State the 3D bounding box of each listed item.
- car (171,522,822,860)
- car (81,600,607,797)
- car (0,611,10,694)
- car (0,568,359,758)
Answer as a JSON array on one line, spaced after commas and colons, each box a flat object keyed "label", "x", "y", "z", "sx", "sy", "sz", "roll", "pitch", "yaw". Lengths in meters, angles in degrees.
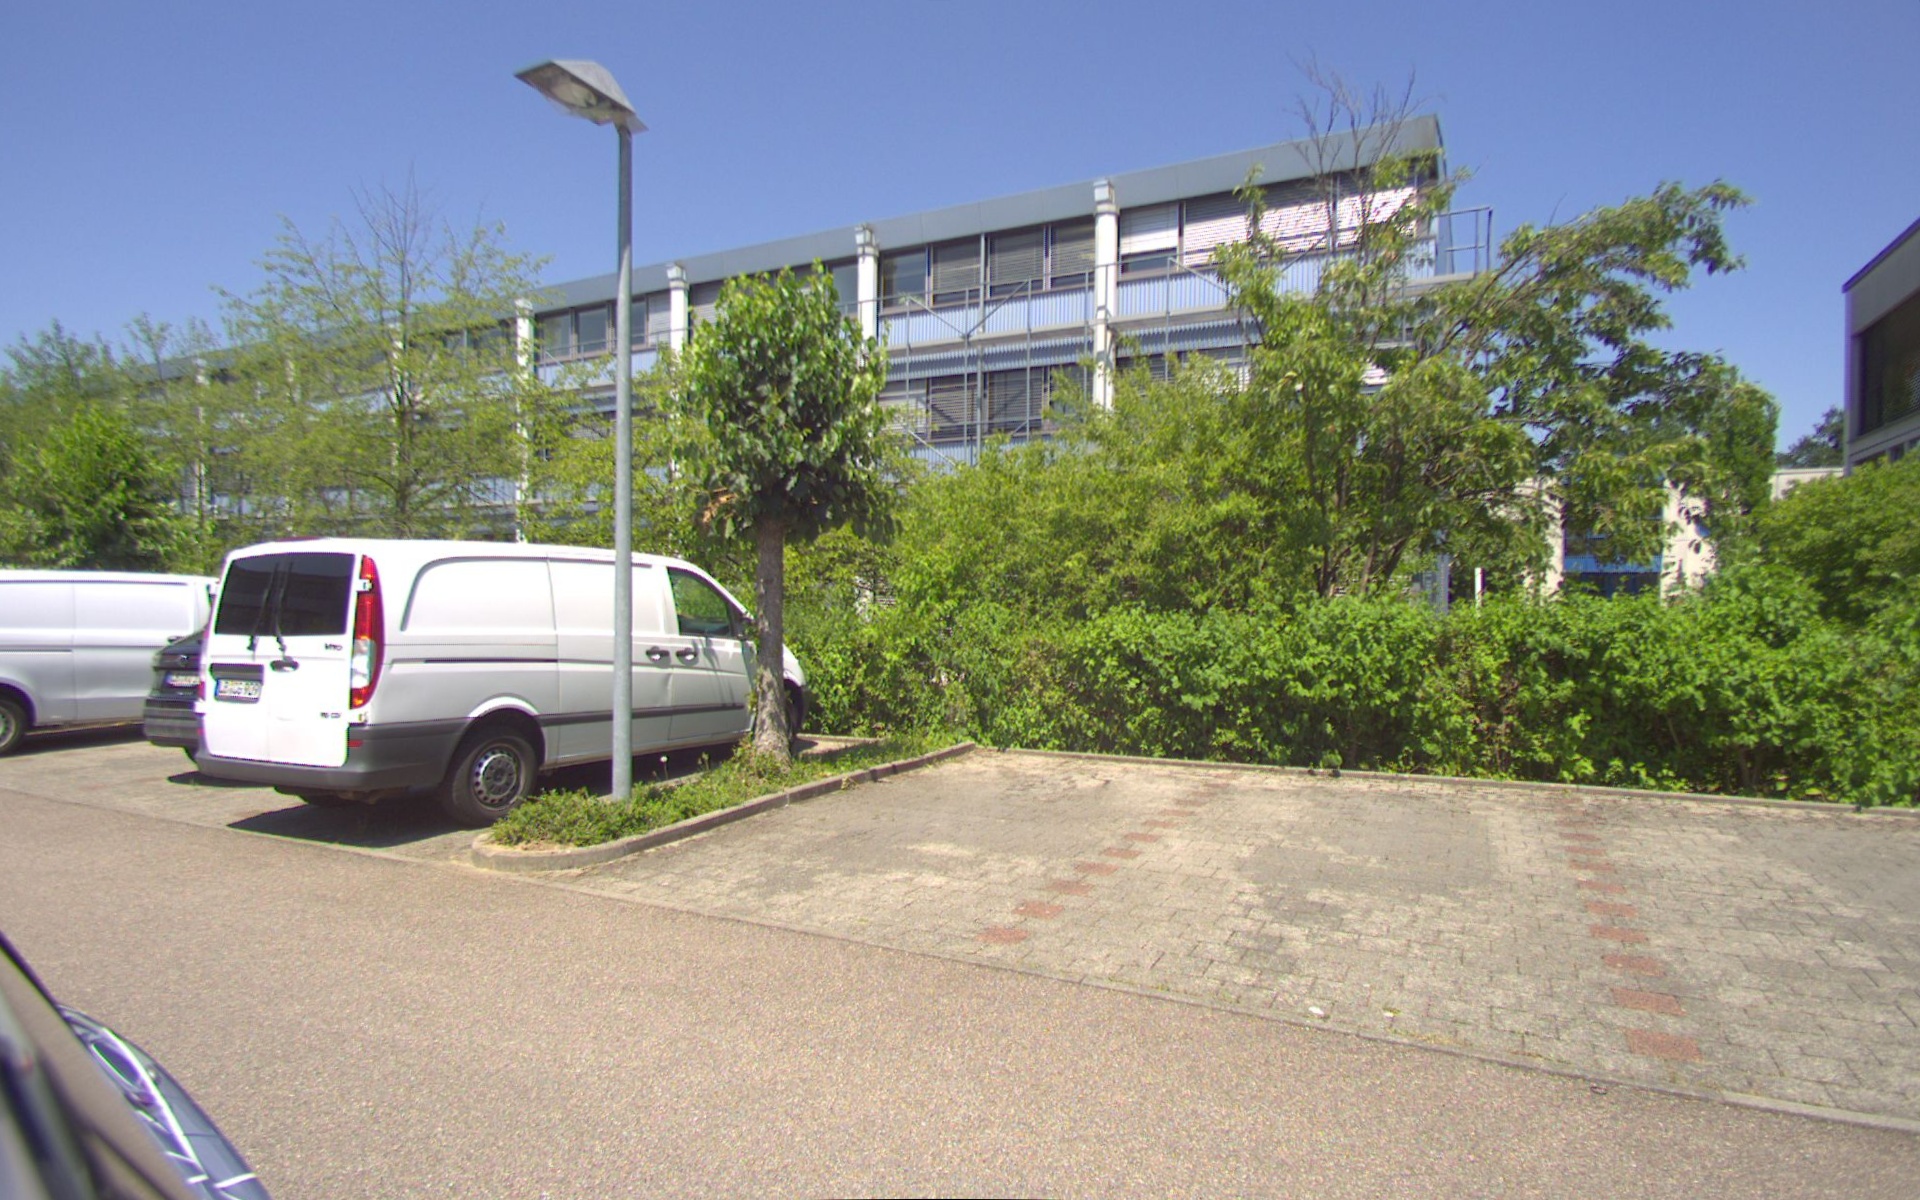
[{"label": "car", "x": -3.192, "y": 0.526, "z": 8.118, "sx": 1.859, "sy": 1.874, "sz": 4.635, "roll": -1, "pitch": -1, "yaw": 27}, {"label": "car", "x": -5.683, "y": 0.769, "z": 9.959, "sx": 1.731, "sy": 1.495, "sz": 4.160, "roll": -1, "pitch": -1, "yaw": 27}, {"label": "car", "x": -18.973, "y": 0.962, "z": 17.033, "sx": 1.733, "sy": 1.495, "sz": 4.044, "roll": -1, "pitch": -1, "yaw": 30}, {"label": "car", "x": -9.750, "y": 0.633, "z": 11.403, "sx": 1.849, "sy": 1.870, "sz": 4.886, "roll": -1, "pitch": -1, "yaw": 29}]
